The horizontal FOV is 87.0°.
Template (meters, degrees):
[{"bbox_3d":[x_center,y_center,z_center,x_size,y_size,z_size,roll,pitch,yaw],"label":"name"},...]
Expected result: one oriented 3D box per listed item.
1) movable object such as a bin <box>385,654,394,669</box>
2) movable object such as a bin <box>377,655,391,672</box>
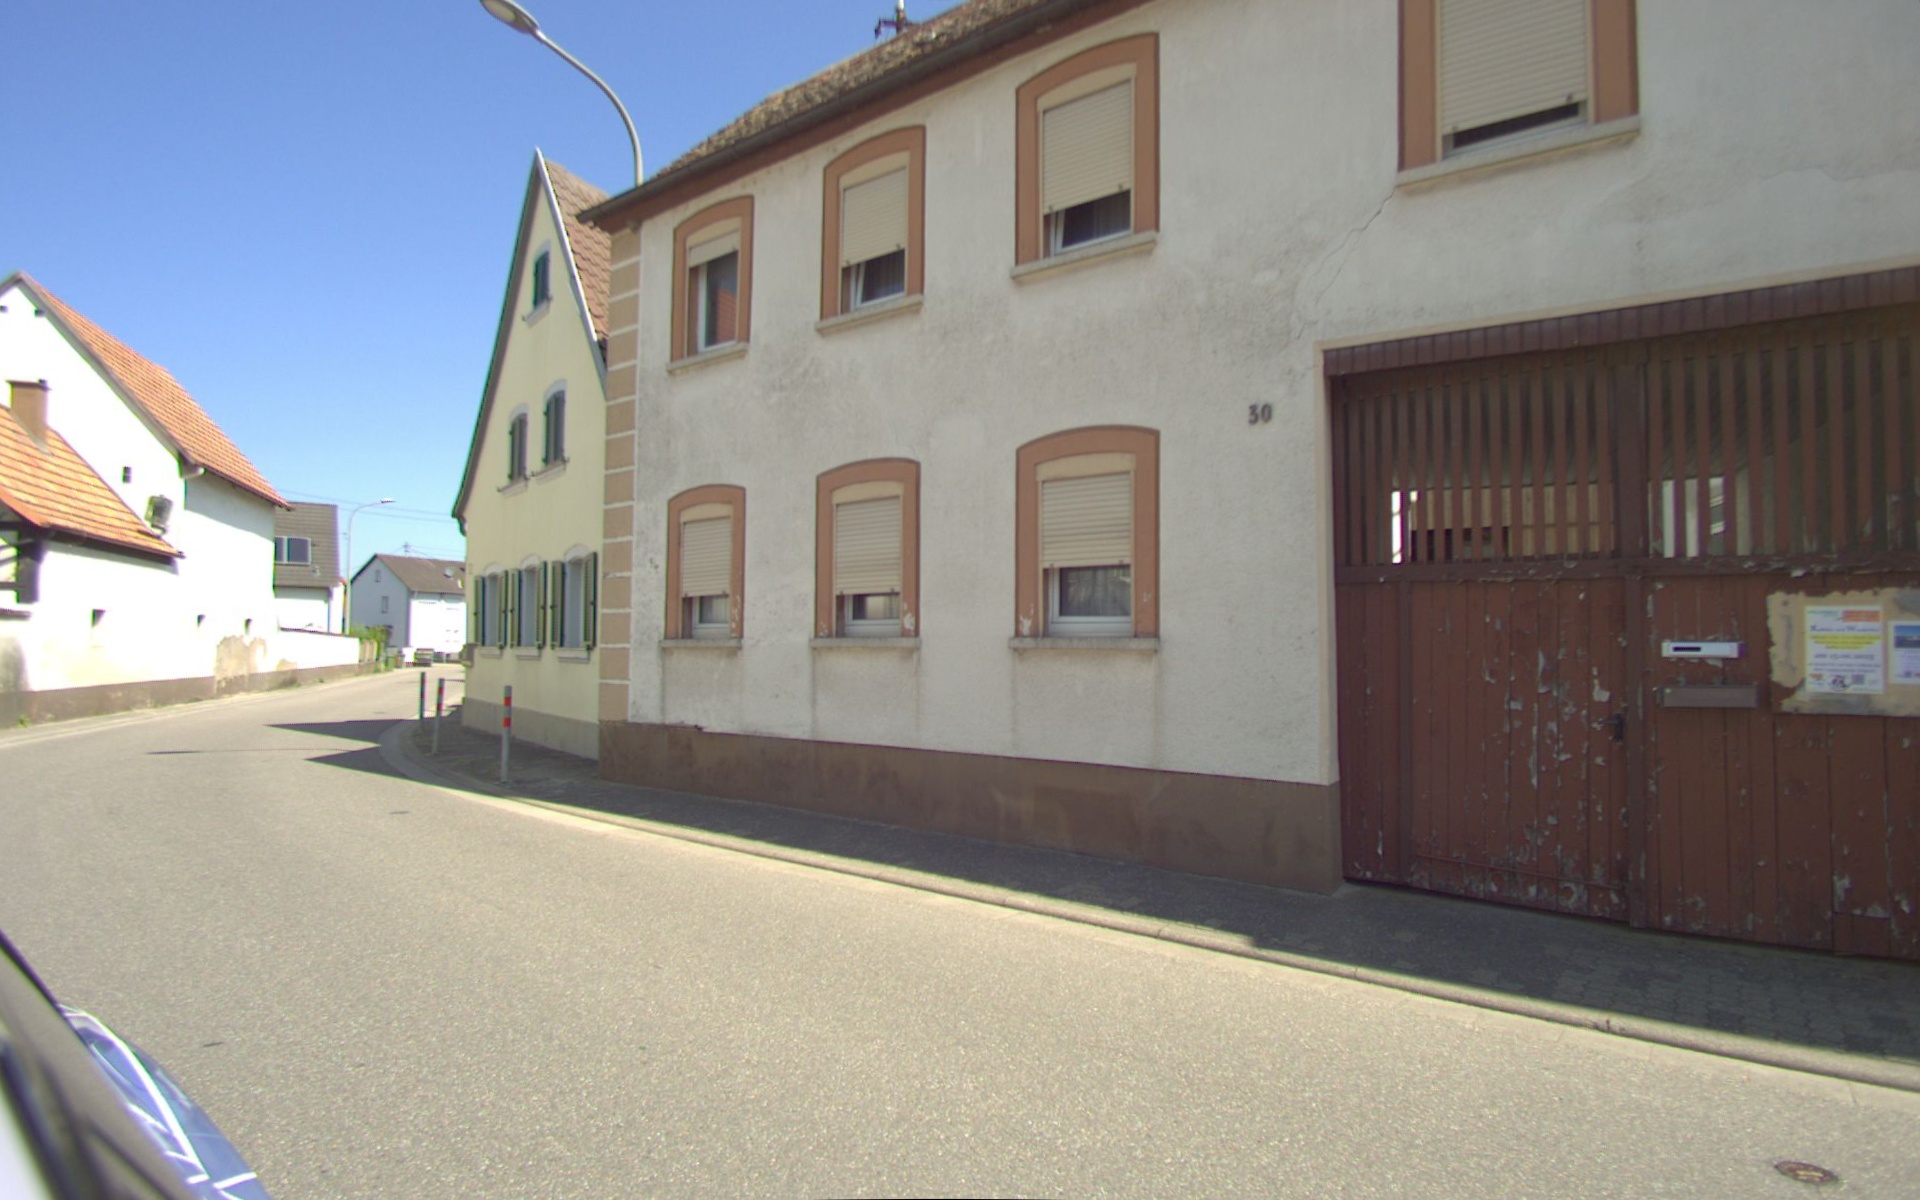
[{"bbox_3d":[-37.760,4.056,66.988,0.497,0.984,0.434,2,-4,-23],"label":"movable object such as a bin"},{"bbox_3d":[-32.736,3.599,57.543,0.433,0.984,0.544,-3,-6,42],"label":"movable object such as a bin"}]
